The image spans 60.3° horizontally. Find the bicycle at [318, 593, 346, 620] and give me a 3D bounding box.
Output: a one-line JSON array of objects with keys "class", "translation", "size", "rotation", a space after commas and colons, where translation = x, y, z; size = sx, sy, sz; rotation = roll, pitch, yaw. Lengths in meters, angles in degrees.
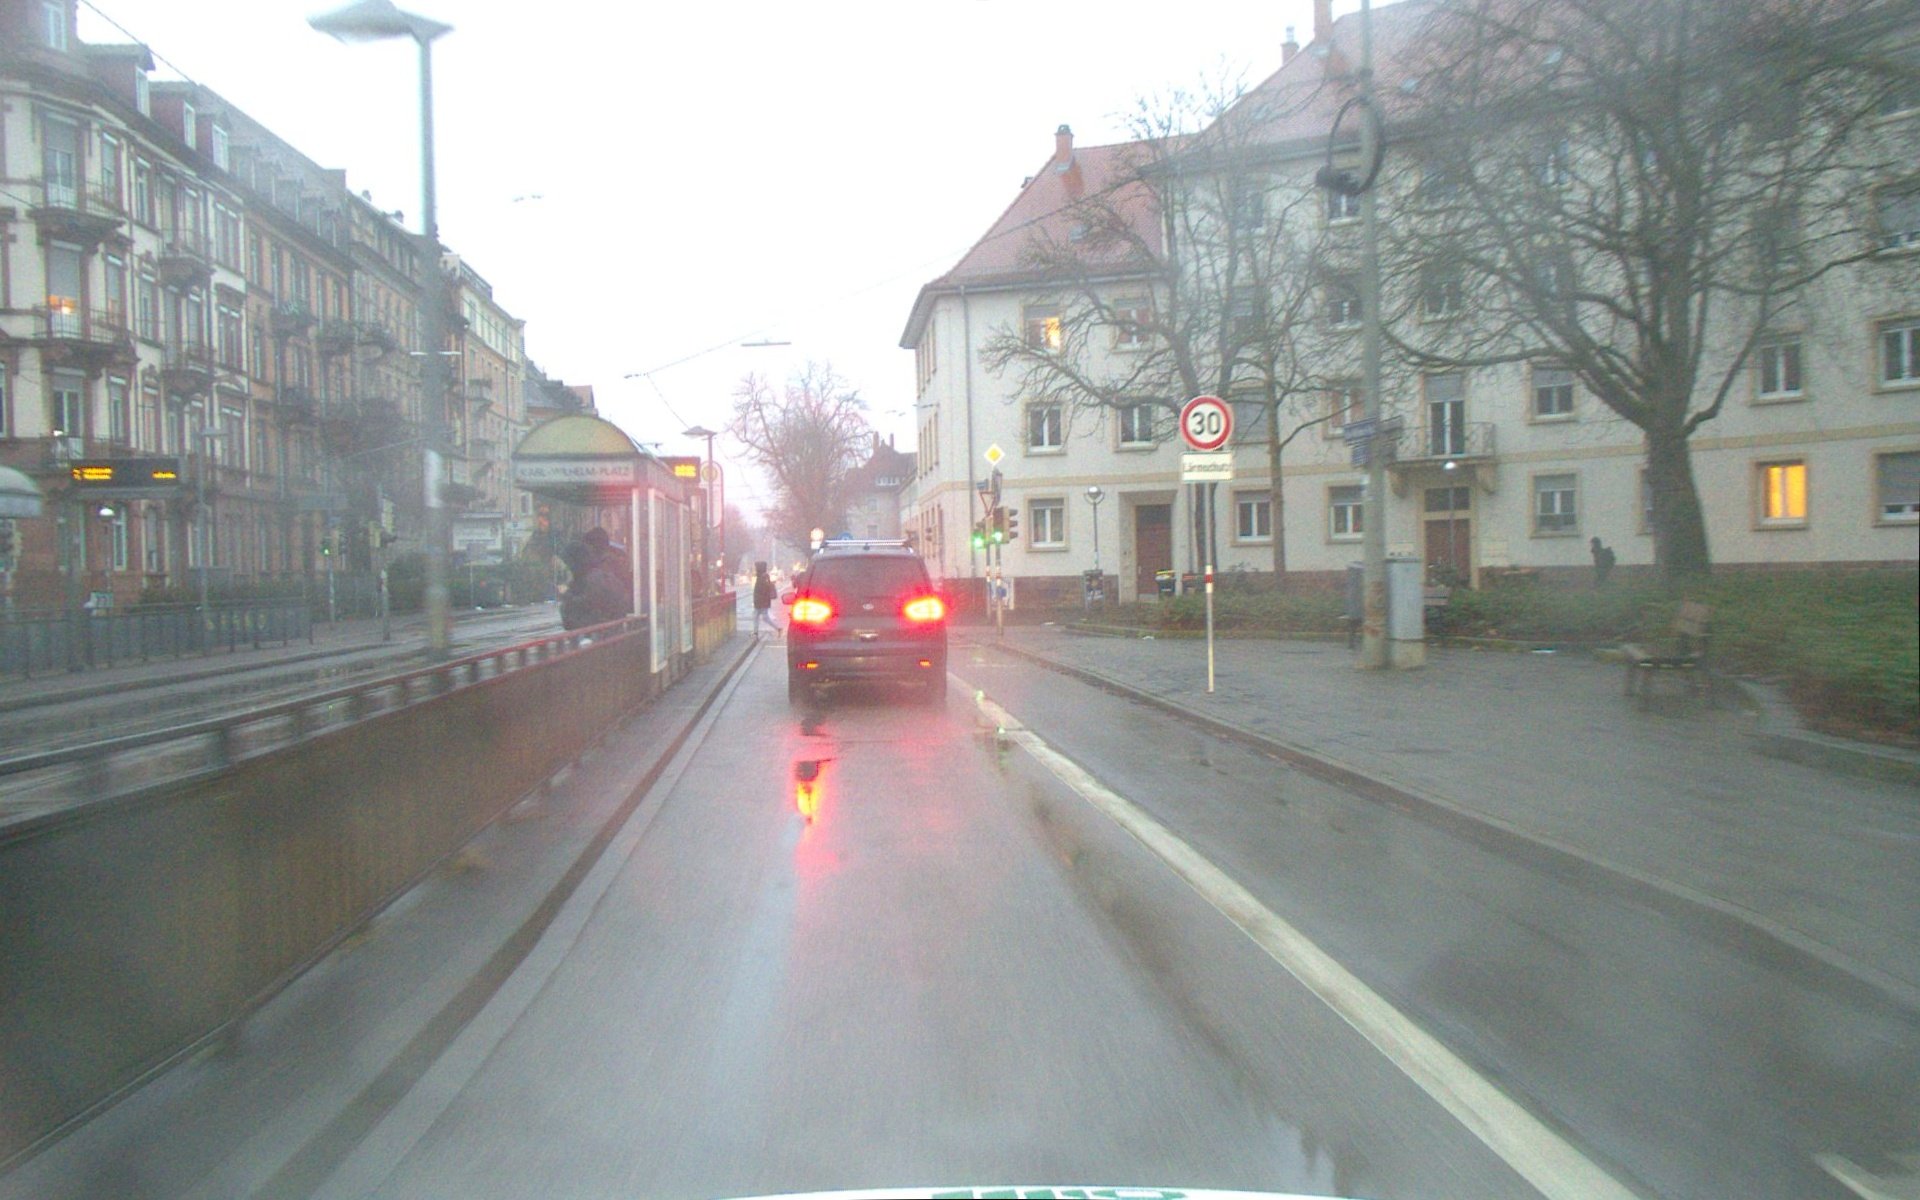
[{"class": "bicycle", "translation": [-22.046, 0.224, 58.083], "size": [0.392, 0.877, 1.847], "rotation": [-1, 1, -4]}]

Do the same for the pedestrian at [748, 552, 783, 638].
[{"class": "pedestrian", "translation": [-4.487, -0.126, 38.086], "size": [0.703, 1.951, 0.687], "rotation": [1, 0, -12]}]

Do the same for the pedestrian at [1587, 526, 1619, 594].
[{"class": "pedestrian", "translation": [16.232, -1.002, 41.751], "size": [0.698, 1.689, 0.688], "rotation": [-1, 1, 20]}]

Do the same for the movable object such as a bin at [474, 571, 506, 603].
[{"class": "movable object such as a bin", "translation": [-23.667, -0.666, 83.368], "size": [1.218, 1.613, 1.307], "rotation": [0, 1, -1]}]

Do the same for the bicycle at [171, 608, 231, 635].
[{"class": "bicycle", "translation": [-23.807, 0.666, 51.896], "size": [0.392, 0.772, 1.807], "rotation": [-1, 1, 30]}]

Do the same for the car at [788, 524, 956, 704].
[{"class": "car", "translation": [-1.079, 0.128, 19.859], "size": [1.766, 1.903, 4.015], "rotation": [1, 1, -4]}]

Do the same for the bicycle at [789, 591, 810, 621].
[{"class": "bicycle", "translation": [-5.775, 0.203, 59.611], "size": [0.717, 1.024, 1.762], "rotation": [-1, 1, -4]}]

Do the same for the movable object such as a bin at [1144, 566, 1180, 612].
[{"class": "movable object such as a bin", "translation": [5.724, -0.324, 46.779], "size": [0.838, 1.273, 0.520], "rotation": [2, 1, 37]}]

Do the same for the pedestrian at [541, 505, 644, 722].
[{"class": "pedestrian", "translation": [-3.453, 0.121, 15.589], "size": [0.837, 1.990, 0.570], "rotation": [1, 0, -5]}]

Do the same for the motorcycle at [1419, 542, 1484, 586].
[{"class": "motorcycle", "translation": [13.111, -0.955, 44.150], "size": [0.565, 1.124, 1.579], "rotation": [-5, 3, -41]}]

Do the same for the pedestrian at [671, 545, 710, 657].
[{"class": "pedestrian", "translation": [-4.465, 0.014, 27.438], "size": [0.546, 1.839, 0.570], "rotation": [1, 0, -5]}]

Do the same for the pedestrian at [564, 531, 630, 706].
[{"class": "pedestrian", "translation": [-3.739, 0.185, 17.059], "size": [0.546, 1.771, 0.570], "rotation": [1, 0, -5]}]

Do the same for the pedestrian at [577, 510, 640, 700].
[{"class": "pedestrian", "translation": [-3.824, 0.054, 18.022], "size": [0.546, 2.022, 0.570], "rotation": [1, 0, -5]}]

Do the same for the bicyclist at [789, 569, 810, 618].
[{"class": "bicyclist", "translation": [-5.785, -0.239, 59.627], "size": [0.716, 1.767, 0.765], "rotation": [-1, 1, -4]}]

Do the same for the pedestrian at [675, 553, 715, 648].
[{"class": "pedestrian", "translation": [-4.886, 0.006, 30.558], "size": [0.644, 1.738, 0.570], "rotation": [1, 0, -5]}]

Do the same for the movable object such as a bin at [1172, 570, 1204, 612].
[{"class": "movable object such as a bin", "translation": [6.379, -0.248, 46.295], "size": [0.687, 1.139, 0.536], "rotation": [2, 1, 37]}]

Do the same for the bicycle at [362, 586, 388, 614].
[{"class": "bicycle", "translation": [-22.242, -0.008, 62.911], "size": [0.408, 1.024, 1.847], "rotation": [-1, 1, -4]}]
